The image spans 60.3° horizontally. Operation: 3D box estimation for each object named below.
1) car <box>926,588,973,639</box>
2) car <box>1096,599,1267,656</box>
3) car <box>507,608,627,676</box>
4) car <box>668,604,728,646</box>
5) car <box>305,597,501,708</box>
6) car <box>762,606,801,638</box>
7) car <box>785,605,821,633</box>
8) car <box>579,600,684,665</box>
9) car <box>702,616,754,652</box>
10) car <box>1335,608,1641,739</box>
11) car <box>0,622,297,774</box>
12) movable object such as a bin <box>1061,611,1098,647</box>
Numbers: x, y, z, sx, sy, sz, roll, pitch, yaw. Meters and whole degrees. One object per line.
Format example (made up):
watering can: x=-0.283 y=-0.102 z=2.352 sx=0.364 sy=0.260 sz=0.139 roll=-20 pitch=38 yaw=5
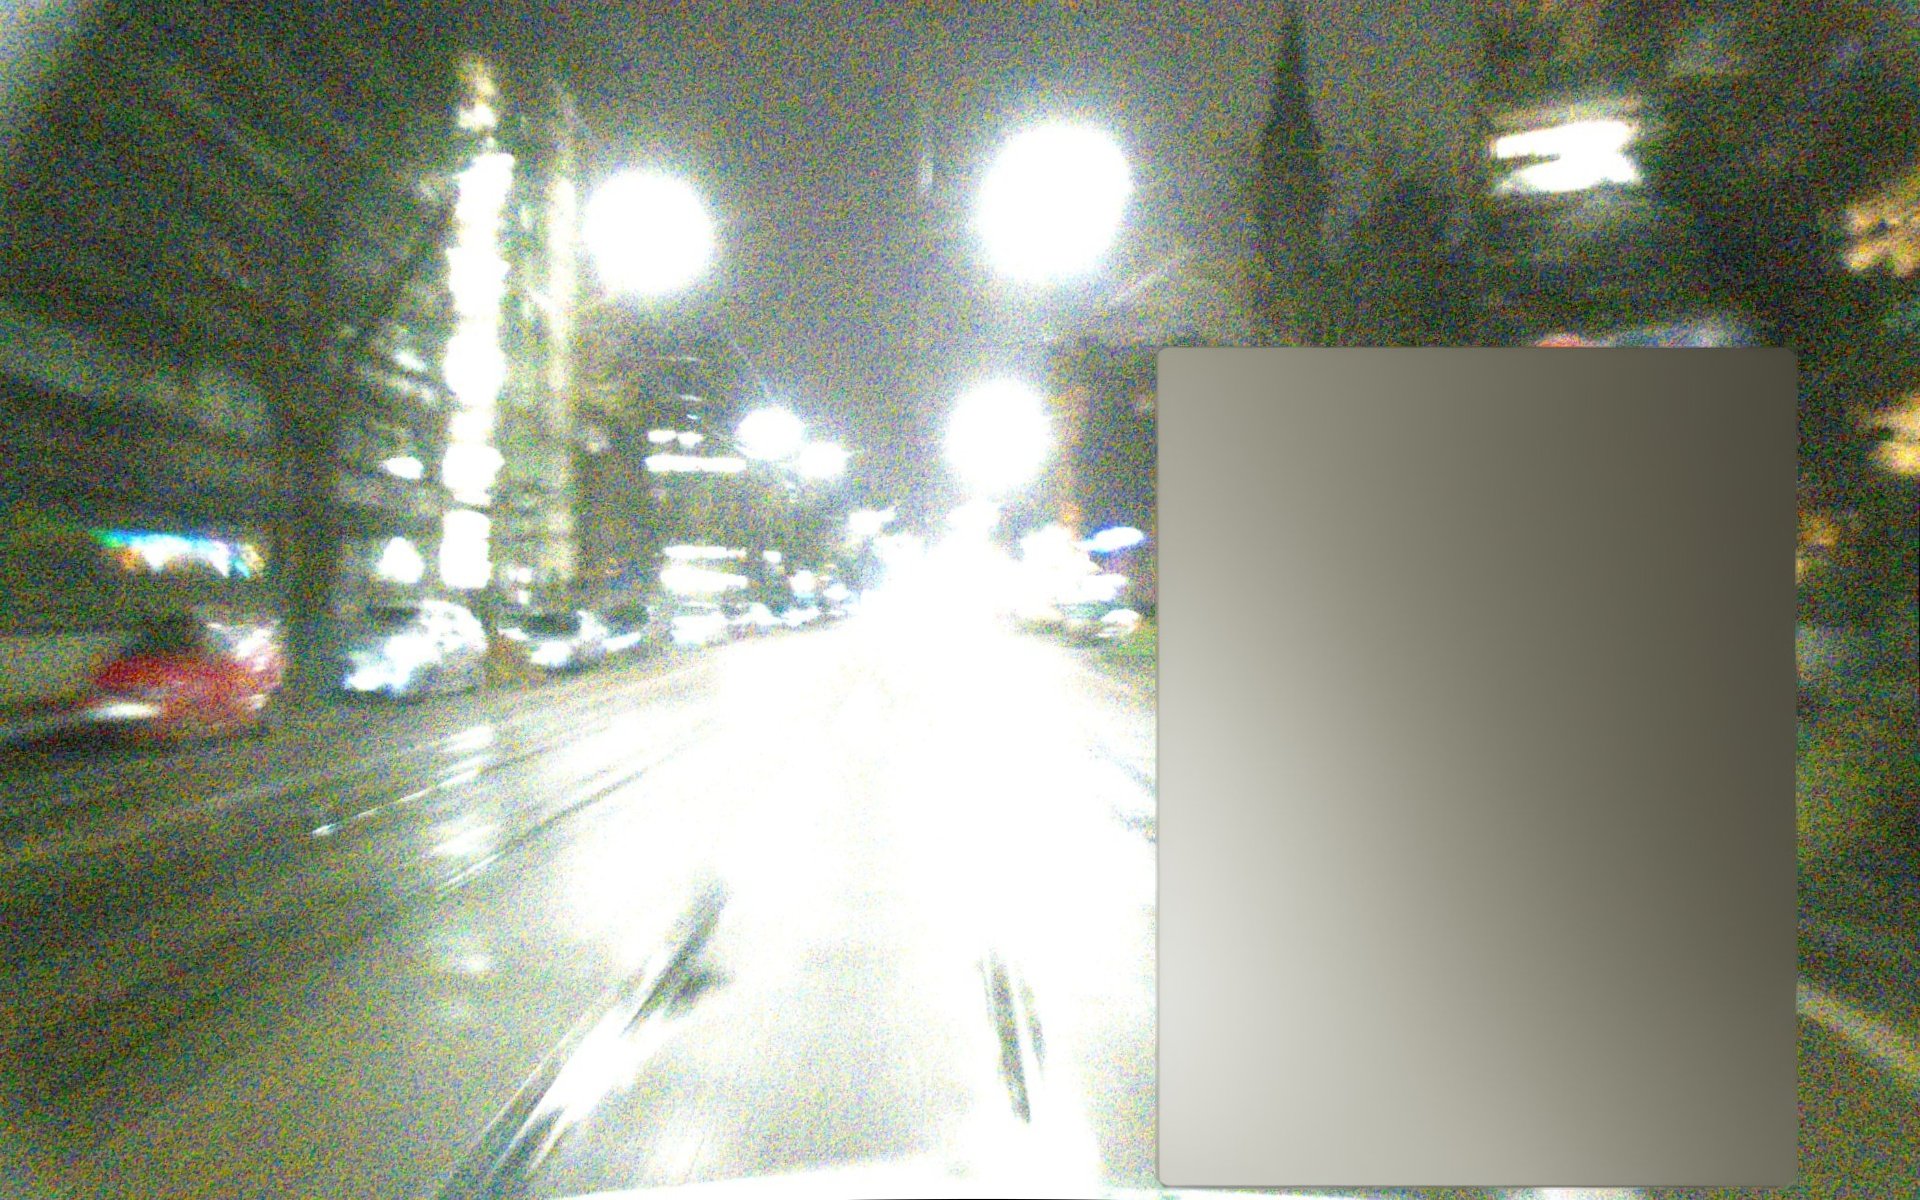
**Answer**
car: x=-0.549 y=0.691 z=81.347 sx=2.199 sy=2.402 sz=4.392 roll=1 pitch=-1 yaw=-2
car: x=6.293 y=0.761 z=47.050 sx=4.518 sy=1.501 sz=1.829 roll=-1 pitch=0 yaw=-21
car: x=-9.049 y=0.953 z=38.481 sx=1.696 sy=1.463 sz=4.625 roll=1 pitch=-1 yaw=0
car: x=-9.319 y=0.881 z=59.114 sx=1.738 sy=1.465 sz=4.604 roll=0 pitch=-1 yaw=-4
car: x=-9.239 y=0.816 z=27.819 sx=1.773 sy=1.606 sz=4.352 roll=3 pitch=0 yaw=0
car: x=-9.803 y=1.197 z=91.226 sx=1.843 sy=1.572 sz=4.396 roll=4 pitch=-1 yaw=-3
car: x=-9.950 y=1.208 z=105.007 sx=1.943 sy=1.660 sz=4.516 roll=1 pitch=-1 yaw=-1
car: x=-9.367 y=0.918 z=47.515 sx=2.100 sy=1.648 sz=4.588 roll=3 pitch=-1 yaw=-1
car: x=-9.594 y=1.386 z=68.653 sx=1.803 sy=1.448 sz=4.206 roll=0 pitch=-1 yaw=-4
car: x=6.738 y=0.861 z=20.897 sx=4.300 sy=1.494 sz=1.657 roll=1 pitch=-1 yaw=-40
car: x=-9.010 y=1.003 z=18.442 sx=1.684 sy=1.481 sz=3.949 roll=1 pitch=-1 yaw=-1
movable object such as a bin: x=4.861 y=1.186 z=67.247 sx=1.296 sy=1.433 sz=1.158 roll=-1 pitch=-1 yaw=-6
